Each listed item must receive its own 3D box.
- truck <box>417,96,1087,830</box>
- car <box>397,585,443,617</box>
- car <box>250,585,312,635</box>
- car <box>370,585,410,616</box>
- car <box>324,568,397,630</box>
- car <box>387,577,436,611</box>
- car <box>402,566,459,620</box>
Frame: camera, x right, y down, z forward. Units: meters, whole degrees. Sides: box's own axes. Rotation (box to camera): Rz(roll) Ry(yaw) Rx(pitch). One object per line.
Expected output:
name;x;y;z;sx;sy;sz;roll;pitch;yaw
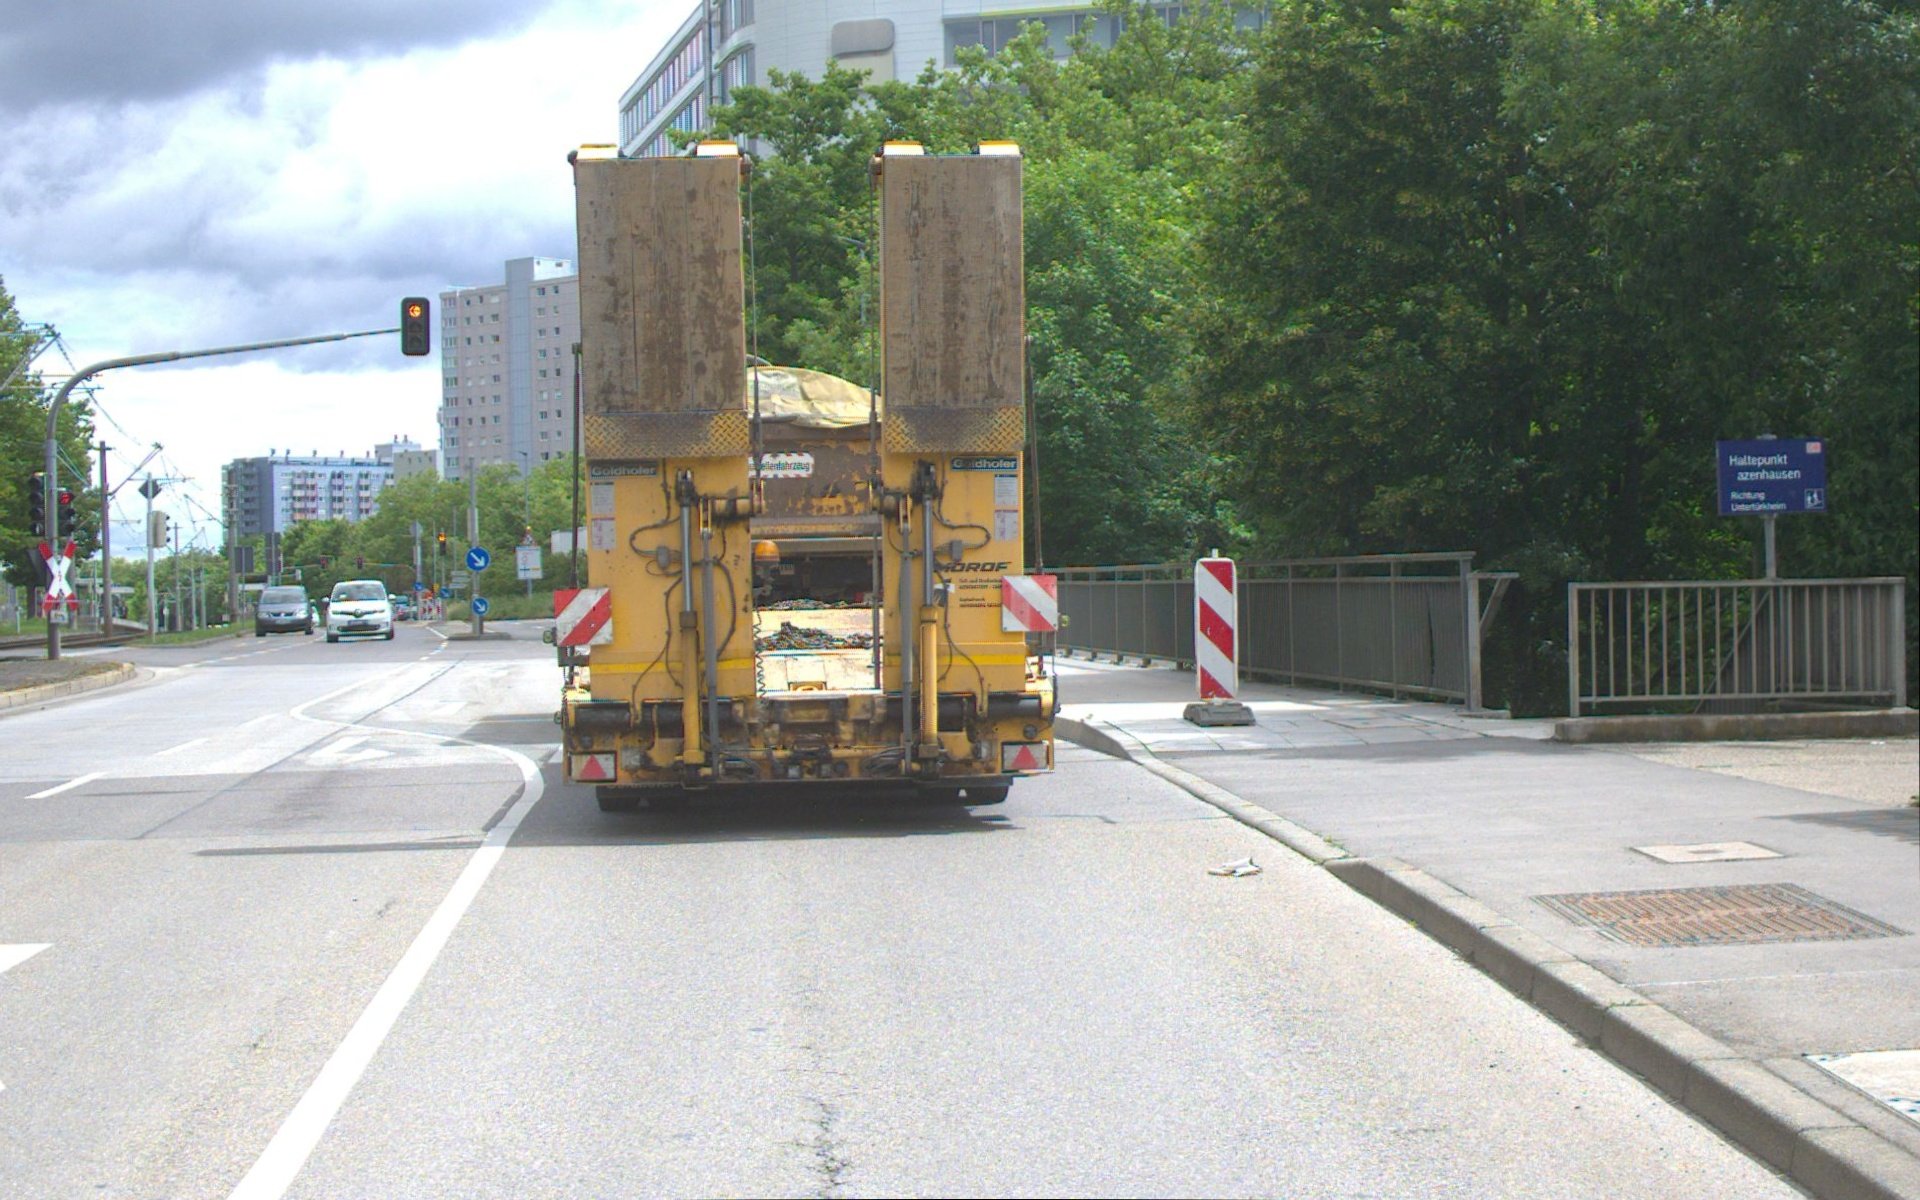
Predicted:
truck;-1.352;-0.694;23.425;3.315;3.638;12.563;0;0;-3
car;-24.961;0.052;158.988;1.993;1.415;4.001;1;0;-8
car;-21.962;0.315;111.323;1.783;1.564;4.346;-1;0;-9
car;-30.331;0.025;183.139;1.993;1.612;4.001;1;0;-8
car;-15.414;-0.022;88.490;1.593;1.521;3.656;-1;0;-7
car;-23.762;-0.265;149.059;1.993;1.415;4.001;1;0;-8
car;-19.437;-0.256;126.323;1.993;1.919;4.001;1;0;-8
